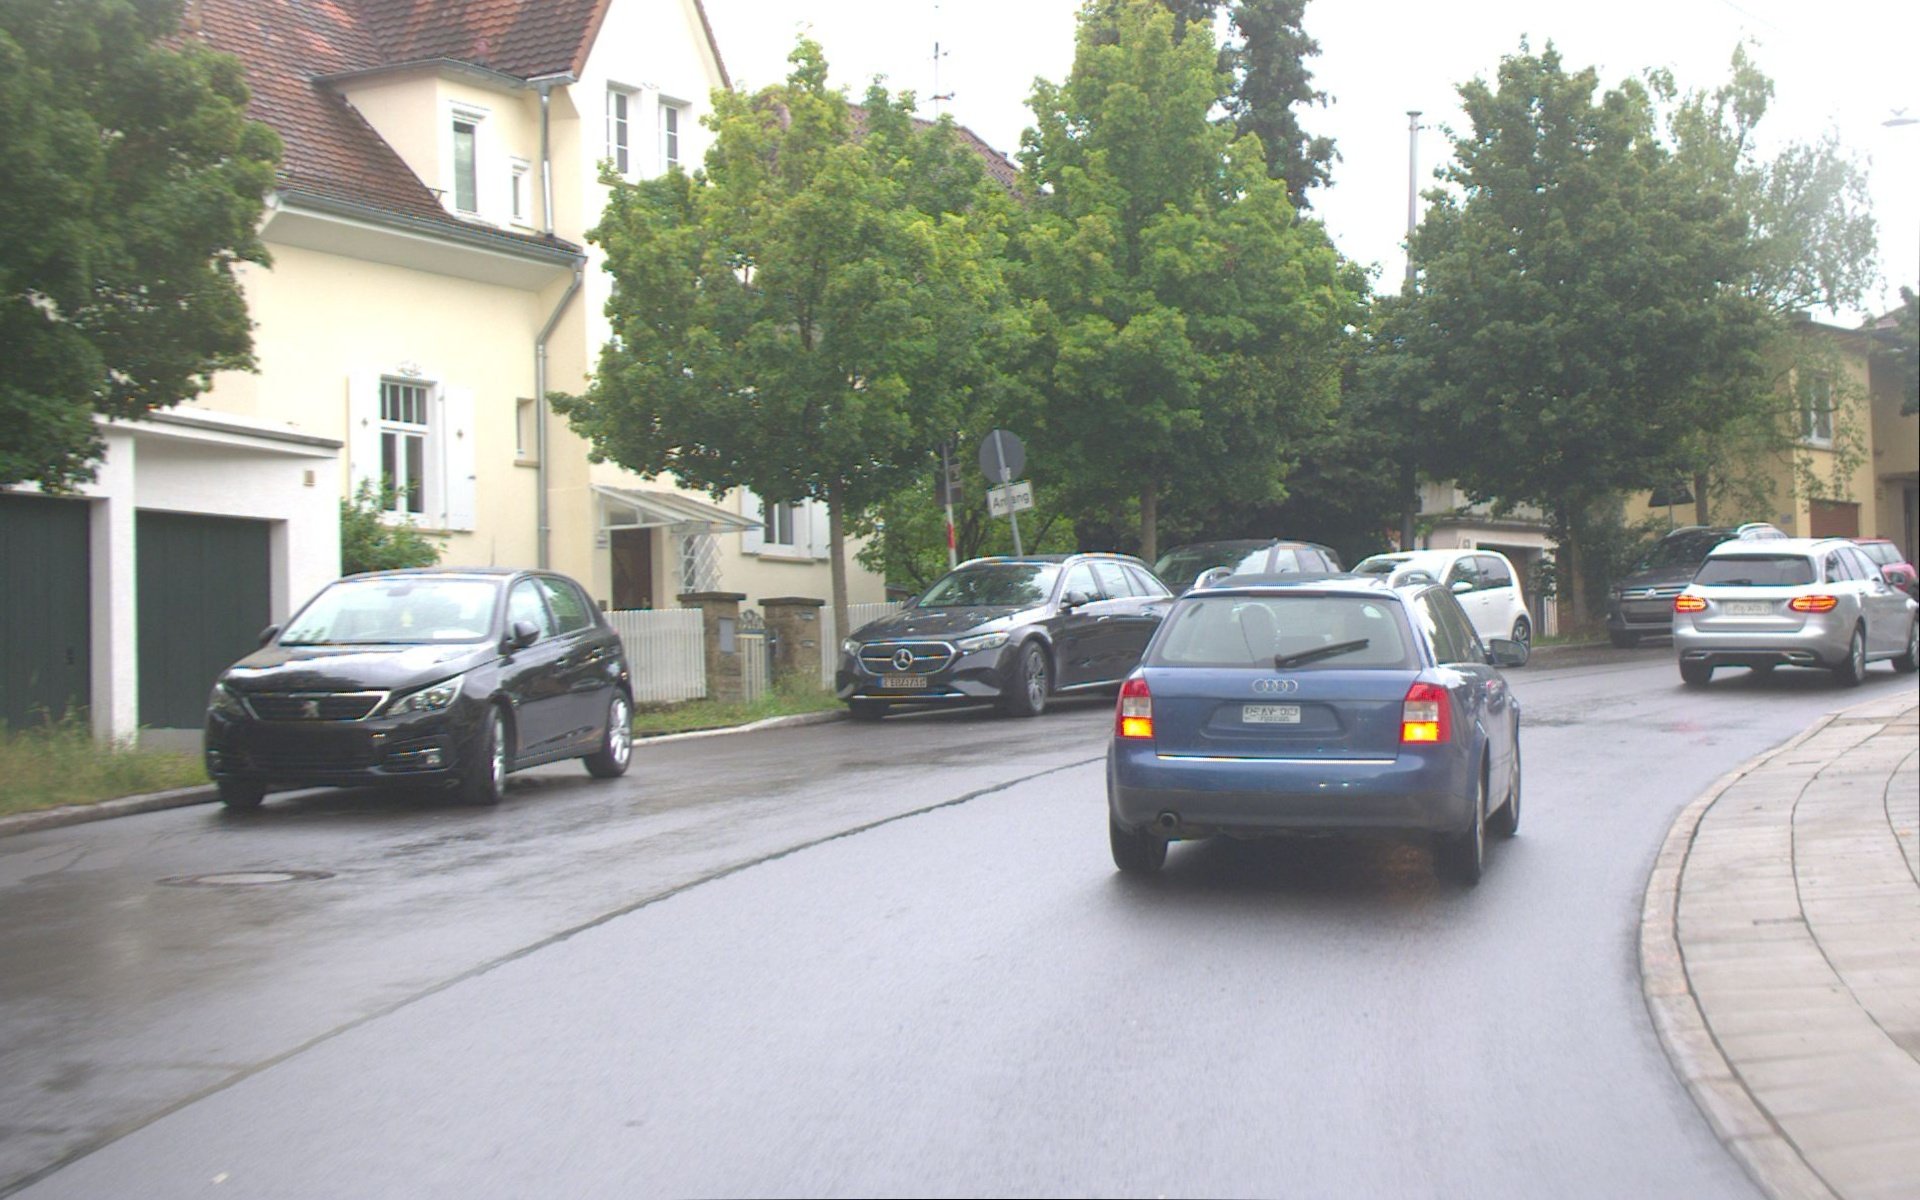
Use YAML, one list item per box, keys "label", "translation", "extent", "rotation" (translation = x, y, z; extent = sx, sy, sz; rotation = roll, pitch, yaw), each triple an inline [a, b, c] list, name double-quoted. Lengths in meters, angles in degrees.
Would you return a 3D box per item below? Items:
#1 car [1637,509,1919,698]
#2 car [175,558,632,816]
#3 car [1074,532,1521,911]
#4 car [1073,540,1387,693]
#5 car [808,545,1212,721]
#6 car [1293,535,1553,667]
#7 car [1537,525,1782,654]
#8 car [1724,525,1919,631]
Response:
- label: "car"
  translation: [8.539, -0.006, 35.311]
  extent: [1.978, 1.629, 4.230]
  rotation: [-1, 3, 27]
- label: "car"
  translation: [-3.466, 0.494, 22.134]
  extent: [1.670, 1.461, 3.893]
  rotation: [-2, 0, 10]
- label: "car"
  translation: [1.792, 0.507, 17.055]
  extent: [1.734, 1.461, 3.999]
  rotation: [-2, 3, 12]
- label: "car"
  translation: [2.998, 0.149, 37.362]
  extent: [1.736, 1.540, 4.203]
  rotation: [-1, 0, 30]
- label: "car"
  translation: [0.582, 0.269, 32.980]
  extent: [1.869, 1.540, 4.898]
  rotation: [-1, 0, 27]
- label: "car"
  translation: [5.699, -0.009, 41.947]
  extent: [1.736, 1.461, 3.994]
  rotation: [-1, 1, 30]
- label: "car"
  translation: [10.100, -0.176, 49.415]
  extent: [1.804, 1.663, 4.417]
  rotation: [-3, 0, 34]
- label: "car"
  translation: [13.441, -0.363, 53.182]
  extent: [1.685, 1.467, 3.857]
  rotation: [-3, 0, 36]
